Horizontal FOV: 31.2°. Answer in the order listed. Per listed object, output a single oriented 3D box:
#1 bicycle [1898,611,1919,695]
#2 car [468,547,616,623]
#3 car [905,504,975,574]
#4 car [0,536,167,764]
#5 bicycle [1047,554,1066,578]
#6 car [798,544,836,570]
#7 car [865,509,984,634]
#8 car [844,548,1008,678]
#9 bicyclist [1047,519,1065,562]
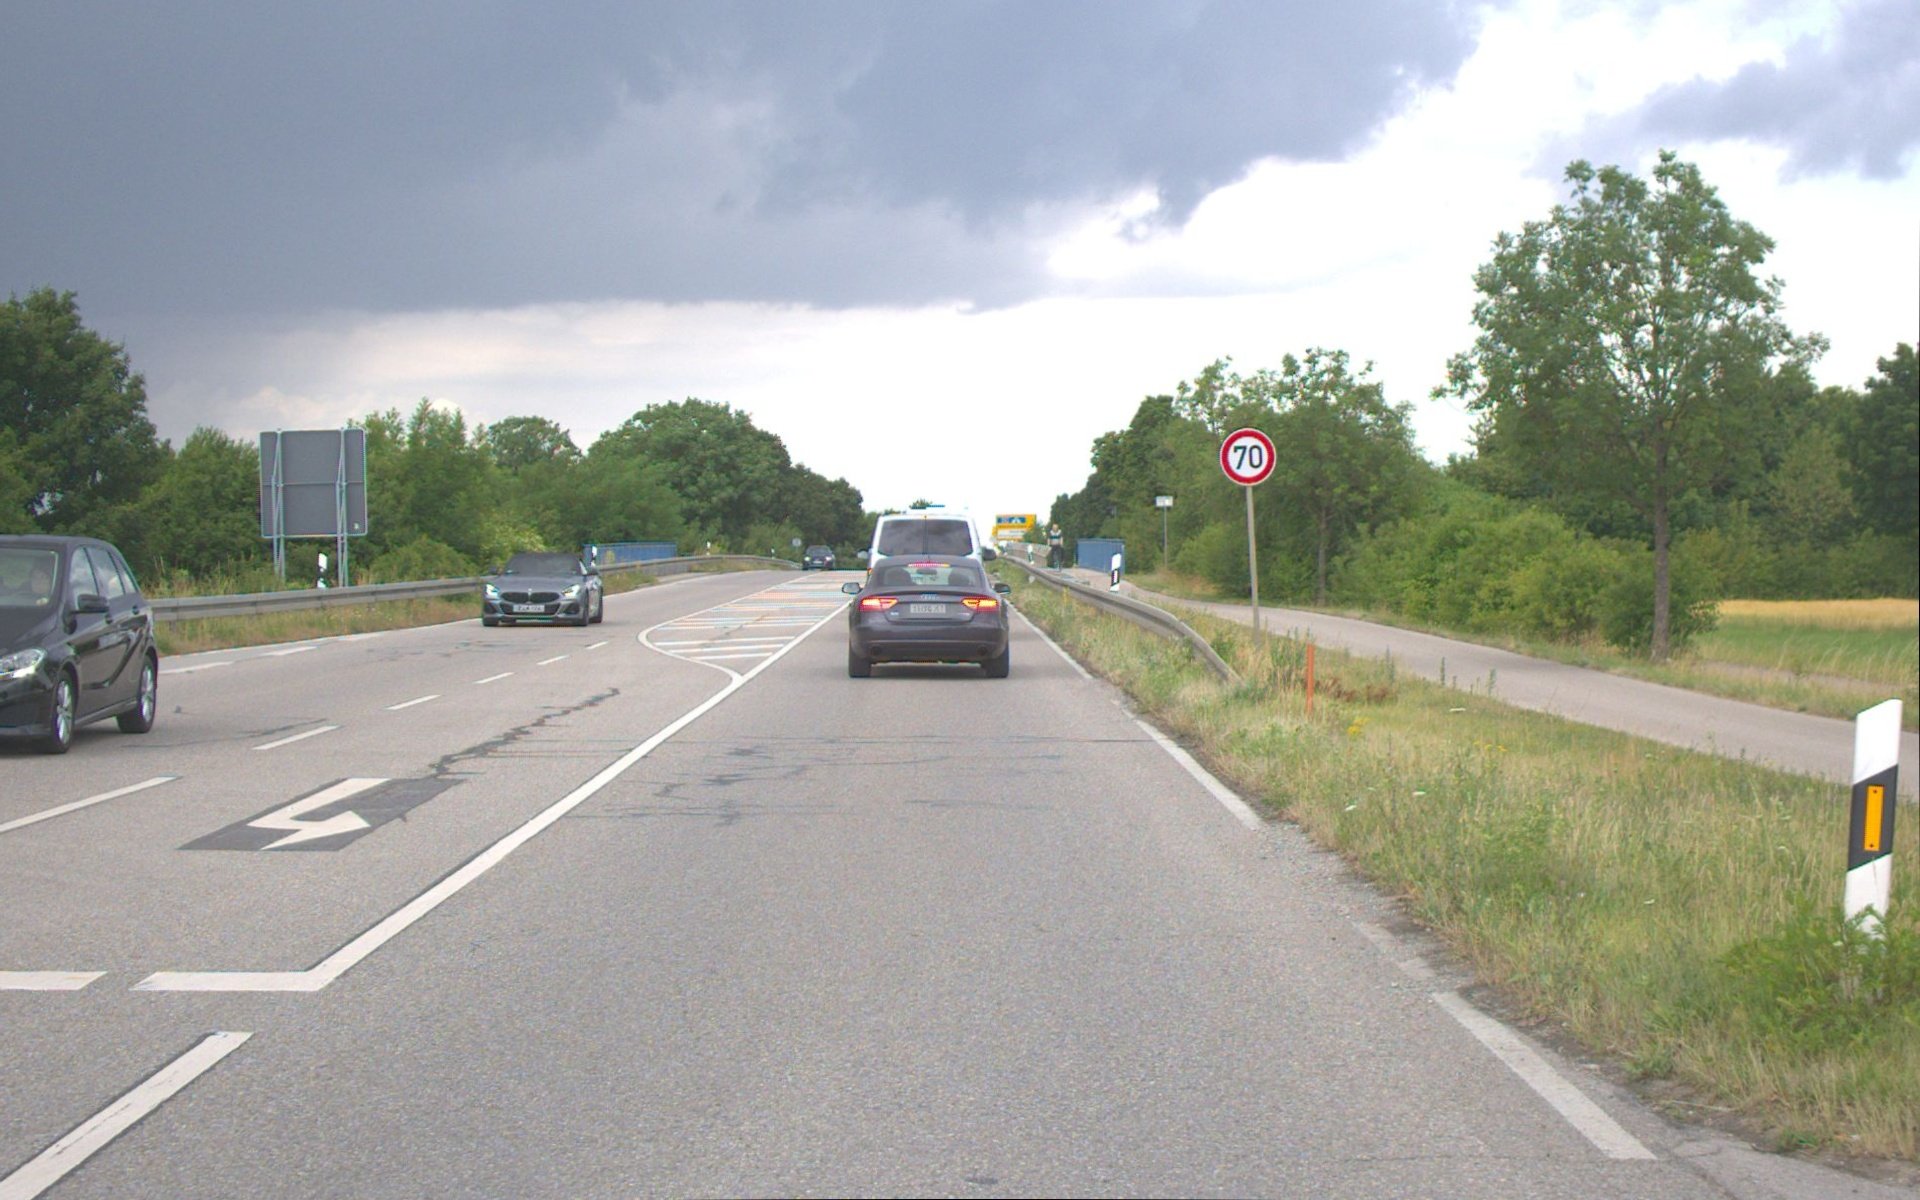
[{"bbox_3d":[13.449,0.727,46.593,0.656,1.134,2.831,1,0,-1],"label":"bicycle"},{"bbox_3d":[-7.522,-0.290,62.234,2.164,1.280,4.237,1,1,0],"label":"car"},{"bbox_3d":[-0.704,-2.229,125.218,2.447,2.495,5.041,1,1,0],"label":"car"},{"bbox_3d":[-7.171,0.296,25.355,1.742,1.525,4.199,0,1,-1],"label":"car"},{"bbox_3d":[3.688,-1.304,131.788,0.666,0.917,1.830,-1,1,0],"label":"bicycle"},{"bbox_3d":[-8.000,-2.410,192.716,1.862,1.371,4.000,2,0,1],"label":"car"},{"bbox_3d":[-0.557,-0.448,54.224,1.786,1.883,4.000,1,1,0],"label":"car"},{"bbox_3d":[-0.383,0.123,39.831,1.786,1.419,4.000,1,1,0],"label":"car"},{"bbox_3d":[3.691,-2.278,131.851,0.647,1.639,0.866,-1,1,0],"label":"bicyclist"}]
